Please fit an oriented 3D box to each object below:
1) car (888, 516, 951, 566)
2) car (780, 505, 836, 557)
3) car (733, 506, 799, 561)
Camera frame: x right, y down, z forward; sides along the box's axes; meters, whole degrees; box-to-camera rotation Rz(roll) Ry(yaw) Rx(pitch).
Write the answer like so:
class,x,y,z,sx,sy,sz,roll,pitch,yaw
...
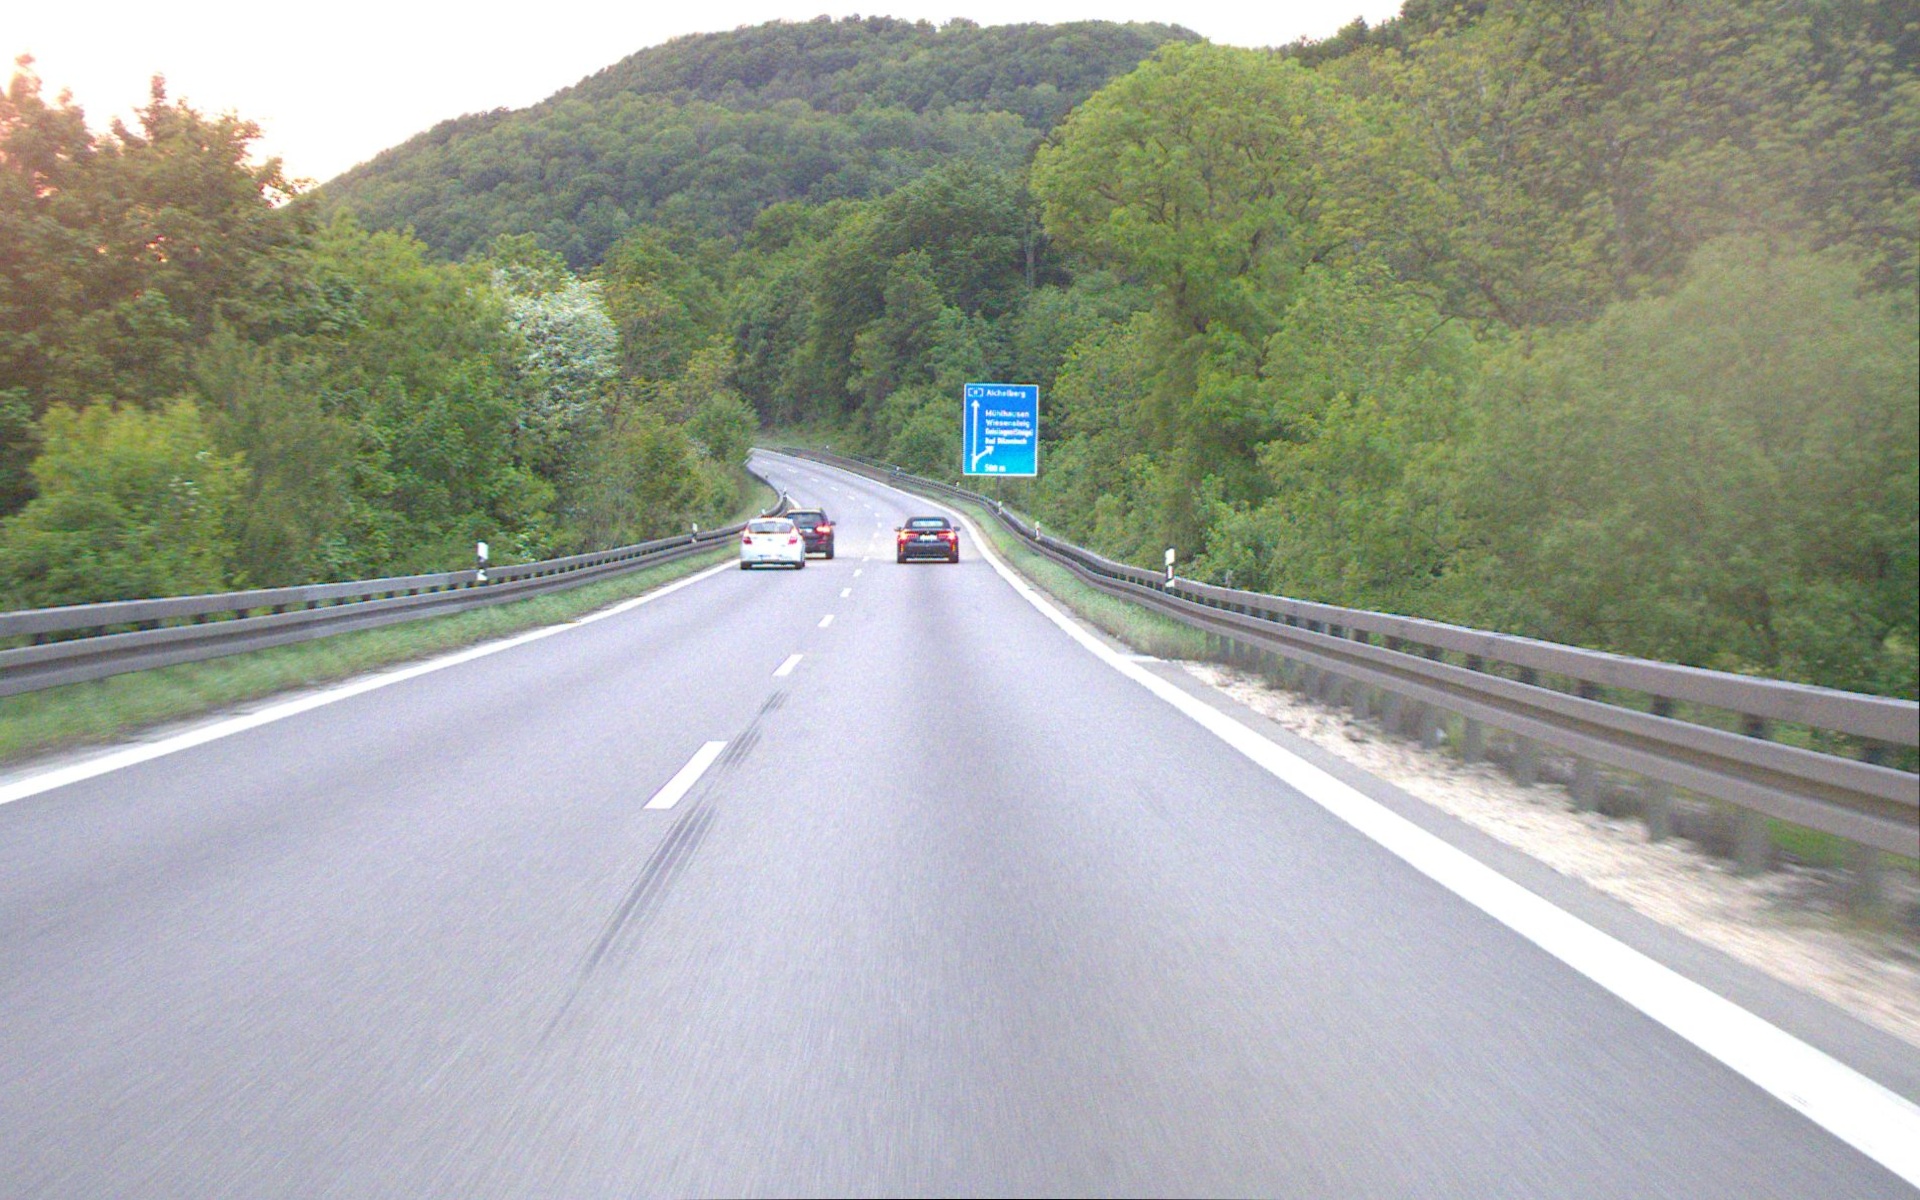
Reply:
class,x,y,z,sx,sy,sz,roll,pitch,yaw
car,-1.258,-1.841,106.048,1.878,1.461,4.001,0,2,-1
car,-4.953,-2.277,112.470,1.718,1.629,4.001,0,2,-1
car,-5.551,-1.919,98.617,1.718,1.496,4.001,0,2,-1
